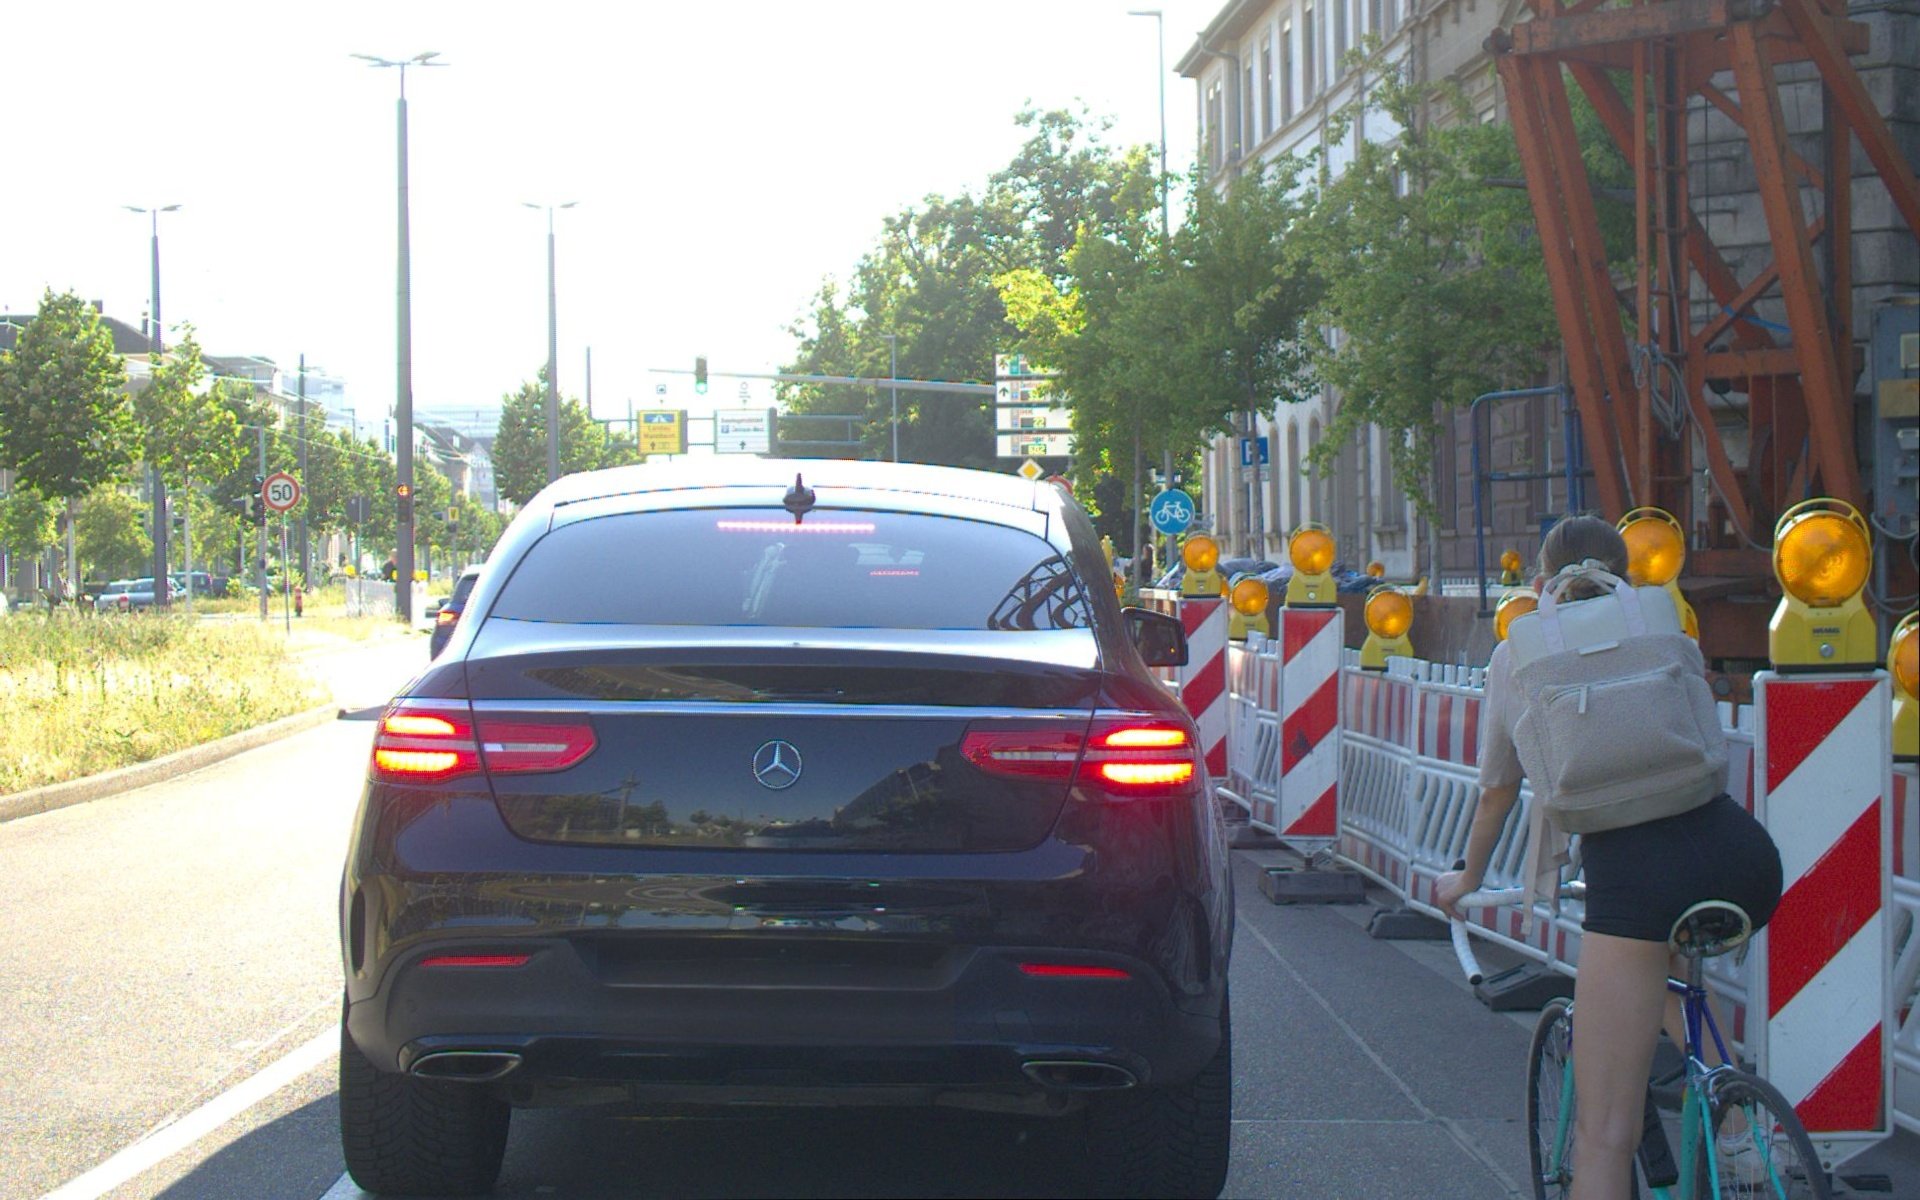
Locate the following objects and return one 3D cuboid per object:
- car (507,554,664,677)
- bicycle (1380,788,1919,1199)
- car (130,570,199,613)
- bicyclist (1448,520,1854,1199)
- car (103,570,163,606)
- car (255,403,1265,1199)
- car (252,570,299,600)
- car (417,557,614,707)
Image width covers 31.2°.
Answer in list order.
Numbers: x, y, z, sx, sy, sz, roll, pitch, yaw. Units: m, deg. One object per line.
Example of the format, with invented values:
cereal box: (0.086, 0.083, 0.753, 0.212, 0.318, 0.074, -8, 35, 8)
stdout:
car: (-4.611, 0.163, 42.717, 1.708, 1.437, 3.583, 1, 1, -3)
bicycle: (1.145, 0.910, 5.992, 0.512, 1.048, 1.725, 1, 1, -3)
car: (-27.585, -0.320, 119.306, 1.708, 1.437, 3.583, 1, 1, -3)
bicyclist: (1.163, 0.566, 5.879, 0.522, 1.391, 0.615, 1, 0, -3)
car: (-33.925, -0.496, 141.116, 1.708, 1.437, 3.583, 1, 1, -3)
car: (-0.423, 0.483, 8.866, 1.993, 1.766, 4.000, 1, 1, -1)
car: (-33.076, -0.737, 166.155, 1.708, 1.437, 3.583, 1, 1, -3)
car: (-4.517, 0.292, 35.348, 1.708, 1.437, 3.583, 1, 1, -3)
